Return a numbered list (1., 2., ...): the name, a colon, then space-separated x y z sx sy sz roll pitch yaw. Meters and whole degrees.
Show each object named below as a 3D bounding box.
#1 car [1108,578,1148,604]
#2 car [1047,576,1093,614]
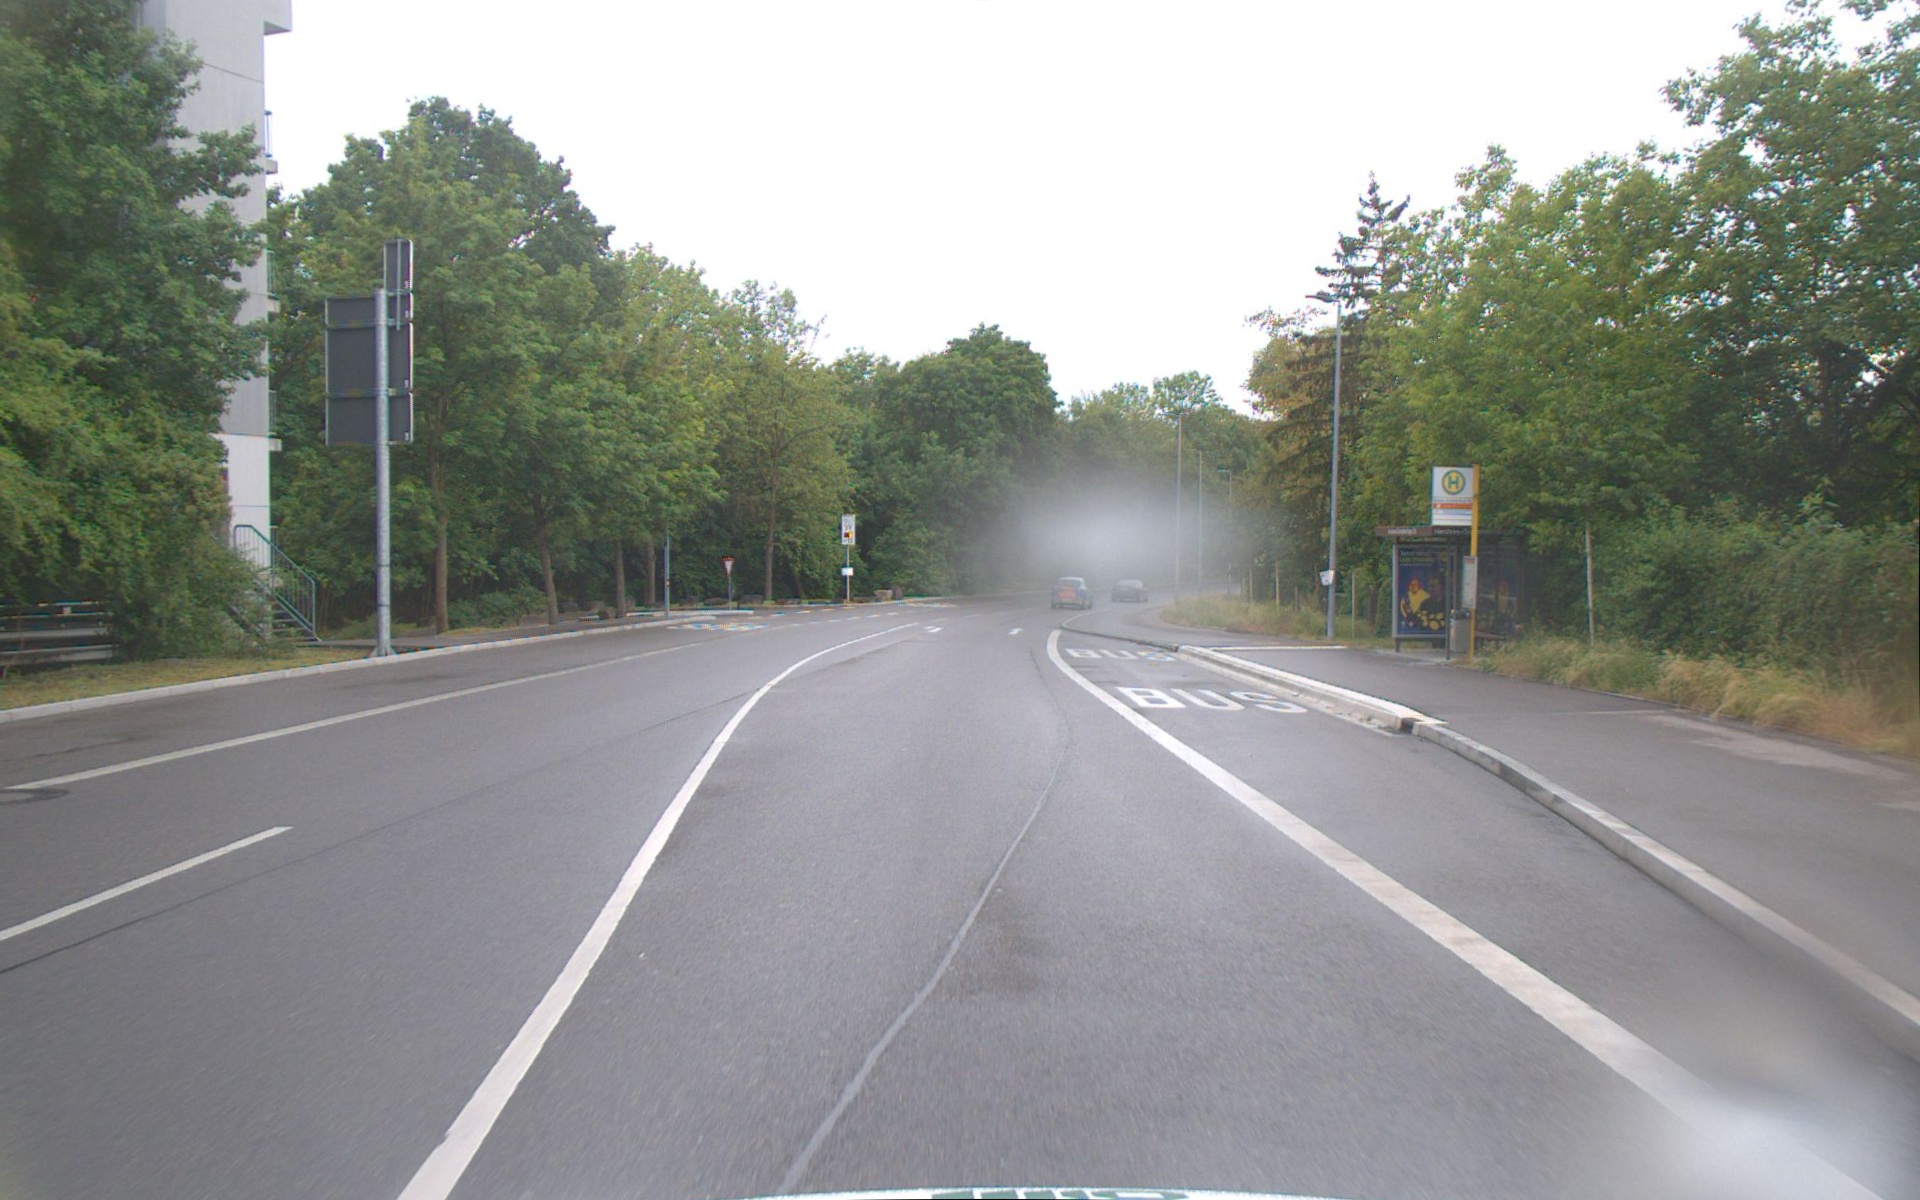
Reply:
1. car: 10.445 -0.579 102.702 1.886 1.512 3.803 0 2 14
2. car: 5.522 -0.278 82.511 1.951 1.718 4.004 -1 2 9
